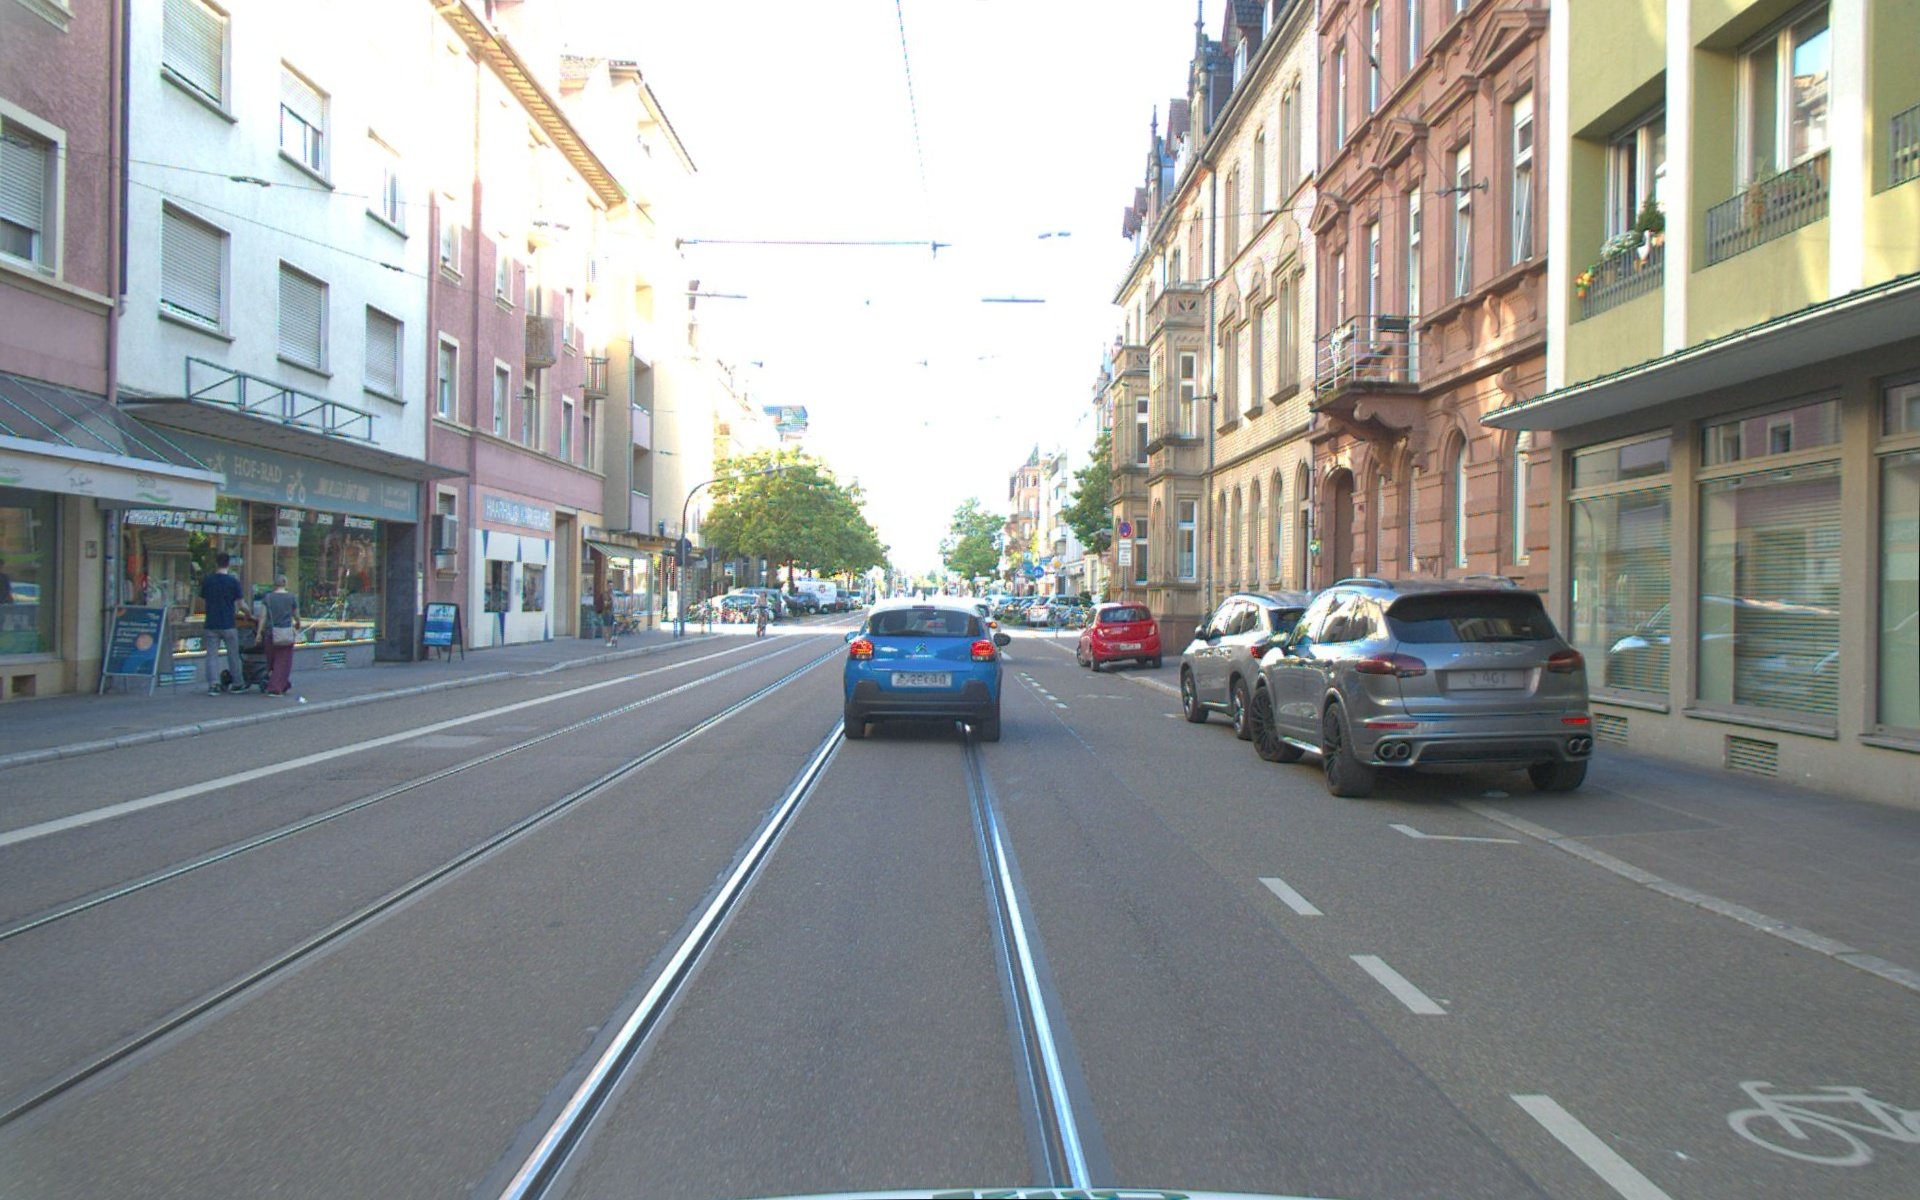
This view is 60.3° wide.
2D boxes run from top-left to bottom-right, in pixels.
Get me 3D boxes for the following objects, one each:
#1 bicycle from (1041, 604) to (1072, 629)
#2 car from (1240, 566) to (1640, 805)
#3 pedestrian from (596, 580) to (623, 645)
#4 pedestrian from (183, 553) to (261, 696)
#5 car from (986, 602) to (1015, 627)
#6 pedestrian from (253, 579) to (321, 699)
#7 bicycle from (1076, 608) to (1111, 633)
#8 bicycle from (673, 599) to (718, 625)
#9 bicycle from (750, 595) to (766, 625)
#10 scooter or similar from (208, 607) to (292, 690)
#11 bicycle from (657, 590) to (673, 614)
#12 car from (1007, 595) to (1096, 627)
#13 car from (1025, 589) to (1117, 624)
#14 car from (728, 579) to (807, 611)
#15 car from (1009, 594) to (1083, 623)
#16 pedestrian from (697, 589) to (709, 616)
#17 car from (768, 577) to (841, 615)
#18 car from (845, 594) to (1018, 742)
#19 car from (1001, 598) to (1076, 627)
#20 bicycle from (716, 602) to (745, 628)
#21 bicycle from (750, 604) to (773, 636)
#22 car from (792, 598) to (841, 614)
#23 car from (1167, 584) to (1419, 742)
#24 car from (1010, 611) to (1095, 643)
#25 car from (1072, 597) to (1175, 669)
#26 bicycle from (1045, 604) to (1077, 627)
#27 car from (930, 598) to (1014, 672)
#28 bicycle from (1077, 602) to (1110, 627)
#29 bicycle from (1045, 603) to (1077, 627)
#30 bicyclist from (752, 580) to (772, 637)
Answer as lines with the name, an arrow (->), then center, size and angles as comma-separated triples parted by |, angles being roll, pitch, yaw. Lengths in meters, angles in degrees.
bicycle -> 4.568, 0.766, 78.307 | 1.369, 1.147, 0.551 | 1, -1, -3
car -> 3.882, 0.628, 14.367 | 1.953, 1.644, 4.784 | -2, 0, -1
pedestrian -> -9.360, 0.343, 44.191 | 0.552, 1.715, 0.616 | 1, -1, -2
pedestrian -> -9.625, 0.313, 21.588 | 0.613, 1.821, 0.821 | 1, -1, -1
car -> 2.806, 0.984, 114.486 | 1.835, 1.624, 4.718 | 1, 0, 0
pedestrian -> -9.027, 0.513, 22.190 | 0.623, 1.576, 0.623 | 1, -1, -1
bicycle -> 6.383, 0.960, 79.324 | 1.639, 1.147, 0.552 | 1, -1, 5
bicycle -> -12.536, 0.565, 78.420 | 2.390, 1.128, 0.680 | 3, 3, 40
bicycle -> -9.609, 0.468, 78.720 | 0.668, 1.342, 2.434 | 1, 2, -5
scooter or similar -> -9.686, 0.647, 22.599 | 0.648, 1.080, 1.105 | 1, 0, 0
bicycle -> -14.086, 0.081, 78.849 | 0.397, 1.129, 1.825 | 1, 0, -22
car -> 4.977, 0.612, 89.633 | 4.379, 1.624, 2.072 | 2, 0, -26
car -> 5.627, 0.328, 83.930 | 4.297, 1.624, 1.838 | 2, -1, -26
car -> -11.746, -0.291, 101.003 | 4.313, 1.814, 1.973 | 2, -1, -34
car -> 5.151, 0.493, 99.109 | 3.937, 1.624, 2.071 | 2, 0, -26
pedestrian -> -15.831, 0.160, 101.911 | 0.557, 1.681, 0.641 | 1, -1, -1
car -> -11.913, -0.311, 126.915 | 5.316, 2.797, 1.787 | 2, -1, -31
car -> -0.325, 0.703, 18.648 | 1.726, 1.466, 3.556 | 1, 0, -1
car -> 4.847, 0.776, 102.171 | 4.249, 1.624, 1.966 | 2, 0, -26
bicycle -> -10.968, 0.729, 79.037 | 0.675, 1.143, 1.868 | 0, 2, -31
bicycle -> -7.255, 0.719, 60.465 | 0.590, 1.115, 2.044 | -1, 0, 0
car -> -11.909, 0.497, 137.594 | 3.751, 1.287, 1.503 | 2, -1, -27
car -> 3.901, 0.692, 20.156 | 1.829, 1.675, 4.396 | 1, 0, -5
car -> 4.801, 1.412, 85.849 | 3.937, 1.563, 1.903 | 2, 0, -26
car -> 3.744, 0.733, 38.544 | 1.828, 1.508, 4.400 | -2, 0, -1
bicycle -> 4.917, 0.743, 80.268 | 1.523, 1.098, 0.307 | 1, -1, 5
car -> 0.257, 0.797, 39.259 | 1.835, 1.624, 3.999 | 1, 0, -1
bicycle -> 6.291, 0.687, 78.104 | 1.523, 1.147, 0.552 | 1, -1, 5
bicycle -> 4.944, 0.722, 80.611 | 1.527, 1.147, 0.295 | 1, -1, 5
bicyclist -> -7.258, 0.309, 60.616 | 0.599, 2.049, 0.733 | 1, -1, -1
